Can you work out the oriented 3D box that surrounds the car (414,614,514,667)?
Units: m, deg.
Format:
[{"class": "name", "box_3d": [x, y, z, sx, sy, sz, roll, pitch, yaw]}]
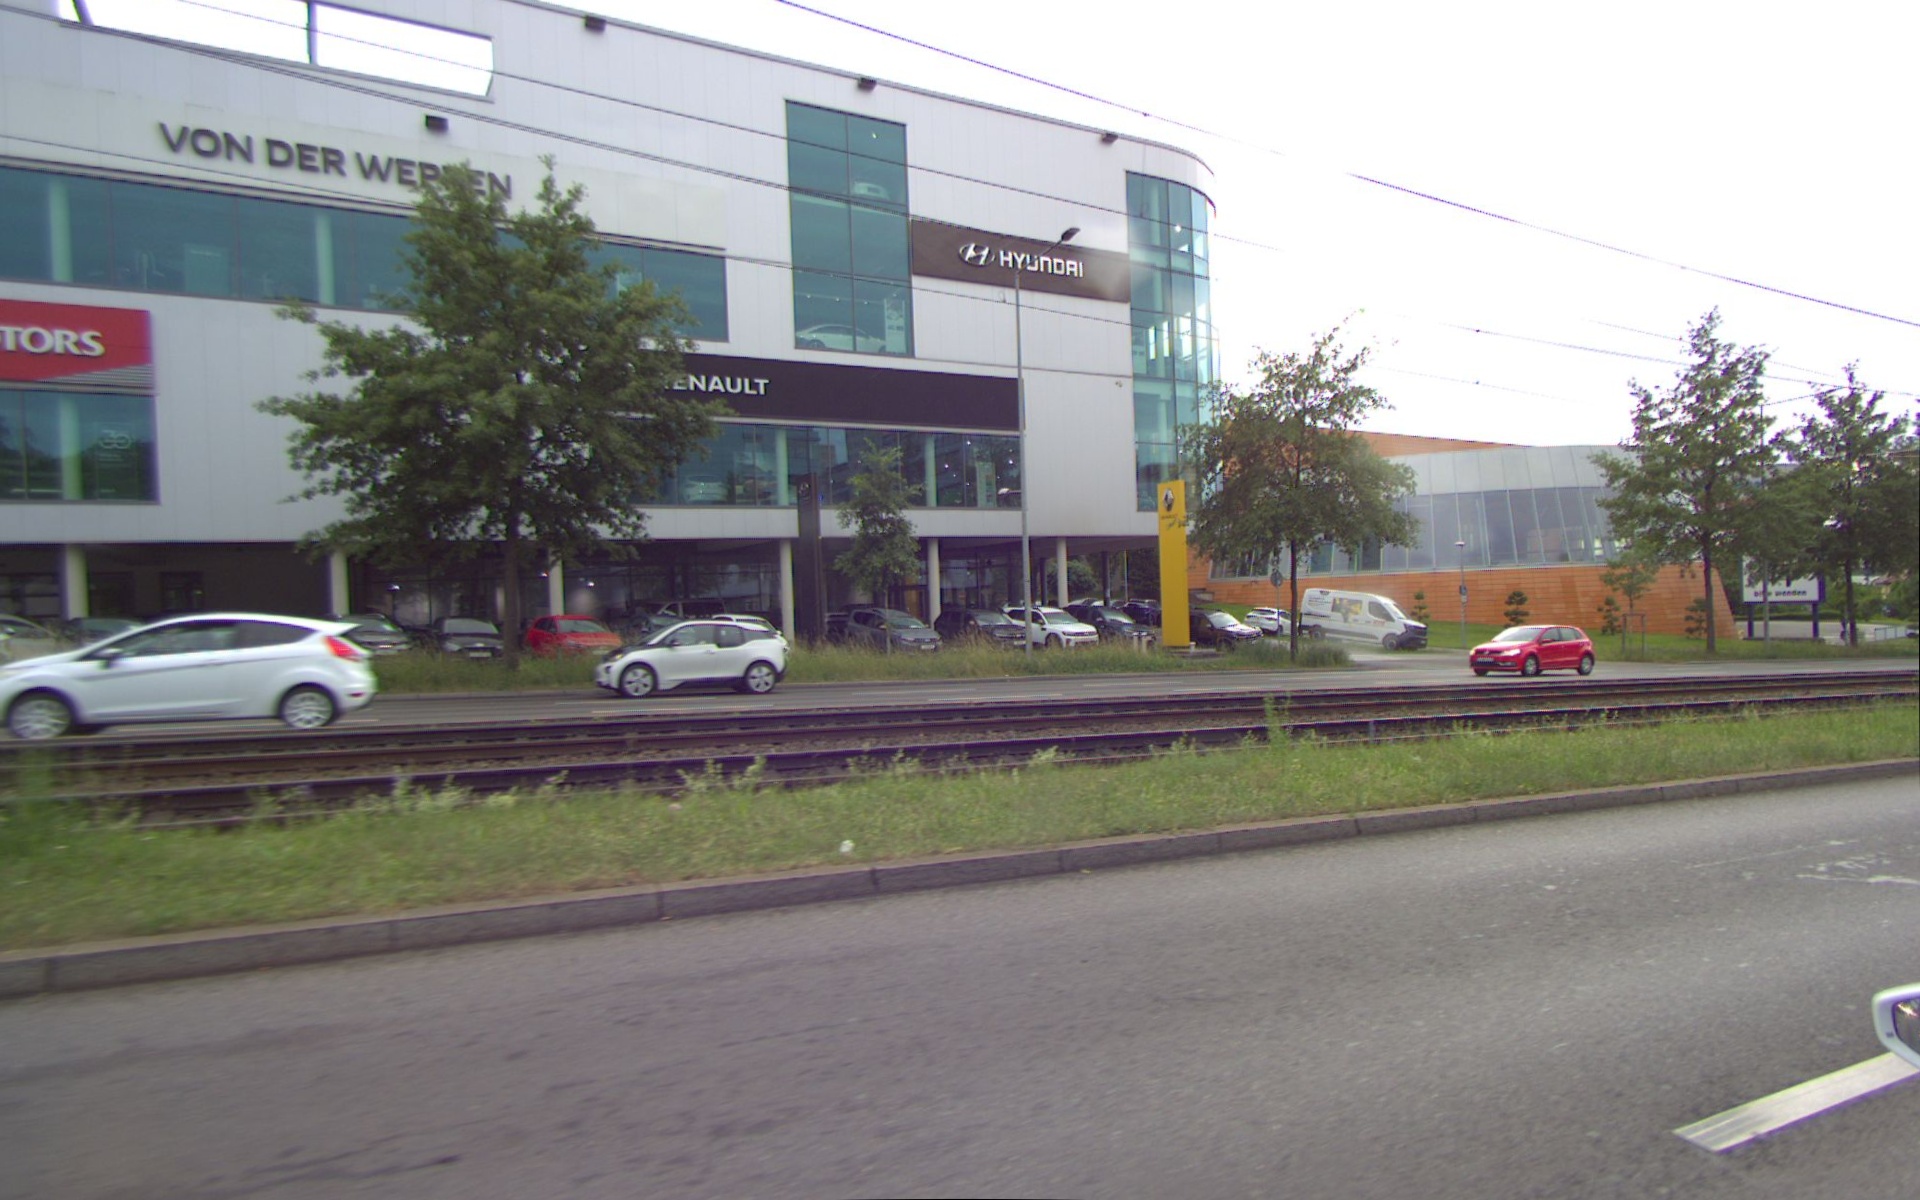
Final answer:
[{"class": "car", "box_3d": [-13.963, 1.079, 28.204, 1.686, 1.198, 3.482, 0, 2, -41]}]

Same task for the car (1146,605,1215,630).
[{"class": "car", "box_3d": [12.299, 0.948, 55.849, 1.973, 1.297, 3.975, 0, 0, 44]}]

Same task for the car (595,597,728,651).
[{"class": "car", "box_3d": [-10.673, 0.816, 36.226, 1.964, 1.806, 4.540, 0, 0, 28]}]

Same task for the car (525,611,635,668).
[{"class": "car", "box_3d": [-11.314, 1.114, 29.762, 1.786, 1.370, 3.886, 0, 2, -41]}]

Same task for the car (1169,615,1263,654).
[{"class": "car", "box_3d": [10.210, 1.347, 40.196, 1.562, 1.409, 3.626, 0, 0, -31]}]

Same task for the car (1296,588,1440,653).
[{"class": "car", "box_3d": [18.545, 0.867, 45.840, 2.387, 2.616, 5.553, 0, 2, -42]}]

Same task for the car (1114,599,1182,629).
[{"class": "car", "box_3d": [10.787, 0.783, 57.561, 1.973, 1.653, 3.975, 0, 0, 44]}]

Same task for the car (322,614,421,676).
[{"class": "car", "box_3d": [-15.971, 1.155, 27.182, 1.686, 1.370, 3.482, 0, 2, -41]}]

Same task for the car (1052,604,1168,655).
[{"class": "car", "box_3d": [5.723, 1.096, 38.720, 1.980, 1.637, 4.332, 1, 2, -35]}]

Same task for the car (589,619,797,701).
[{"class": "car", "box_3d": [-5.687, 1.219, 21.491, 4.048, 1.602, 1.677, 1, 0, -28]}]

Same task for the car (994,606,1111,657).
[{"class": "car", "box_3d": [3.375, 1.105, 37.308, 1.980, 1.571, 4.332, 1, 2, -35]}]

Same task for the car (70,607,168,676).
[{"class": "car", "box_3d": [-20.586, 0.952, 24.538, 1.687, 1.370, 3.481, 0, 2, -42]}]

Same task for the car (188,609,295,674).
[{"class": "car", "box_3d": [-18.602, 1.013, 25.950, 3.477, 1.370, 1.688, 4, 2, 44]}]

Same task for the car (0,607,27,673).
[{"class": "car", "box_3d": [-23.114, 0.913, 23.469, 3.613, 1.312, 1.689, 3, 2, 43]}]

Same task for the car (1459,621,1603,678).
[{"class": "car", "box_3d": [16.241, 1.379, 28.555, 4.049, 1.533, 1.579, 1, -2, -27]}]

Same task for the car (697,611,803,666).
[{"class": "car", "box_3d": [-6.828, 1.186, 32.382, 1.902, 1.479, 4.006, 1, 2, -35]}]

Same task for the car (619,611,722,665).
[{"class": "car", "box_3d": [-9.093, 1.125, 31.340, 1.902, 1.370, 4.006, 1, 2, -35]}]

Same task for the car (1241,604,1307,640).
[{"class": "car", "box_3d": [15.691, 1.085, 50.168, 1.706, 1.688, 3.728, 1, 0, 43]}]

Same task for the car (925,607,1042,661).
[{"class": "car", "box_3d": [0.768, 1.151, 35.681, 1.980, 1.571, 4.332, 1, 2, -35]}]

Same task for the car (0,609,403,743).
[{"class": "car", "box_3d": [-9.236, 0.874, 12.373, 4.046, 1.455, 1.678, 1, -3, -27]}]

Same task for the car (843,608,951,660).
[{"class": "car", "box_3d": [-2.243, 1.116, 34.622, 1.913, 1.479, 3.981, 1, 2, -35]}]
